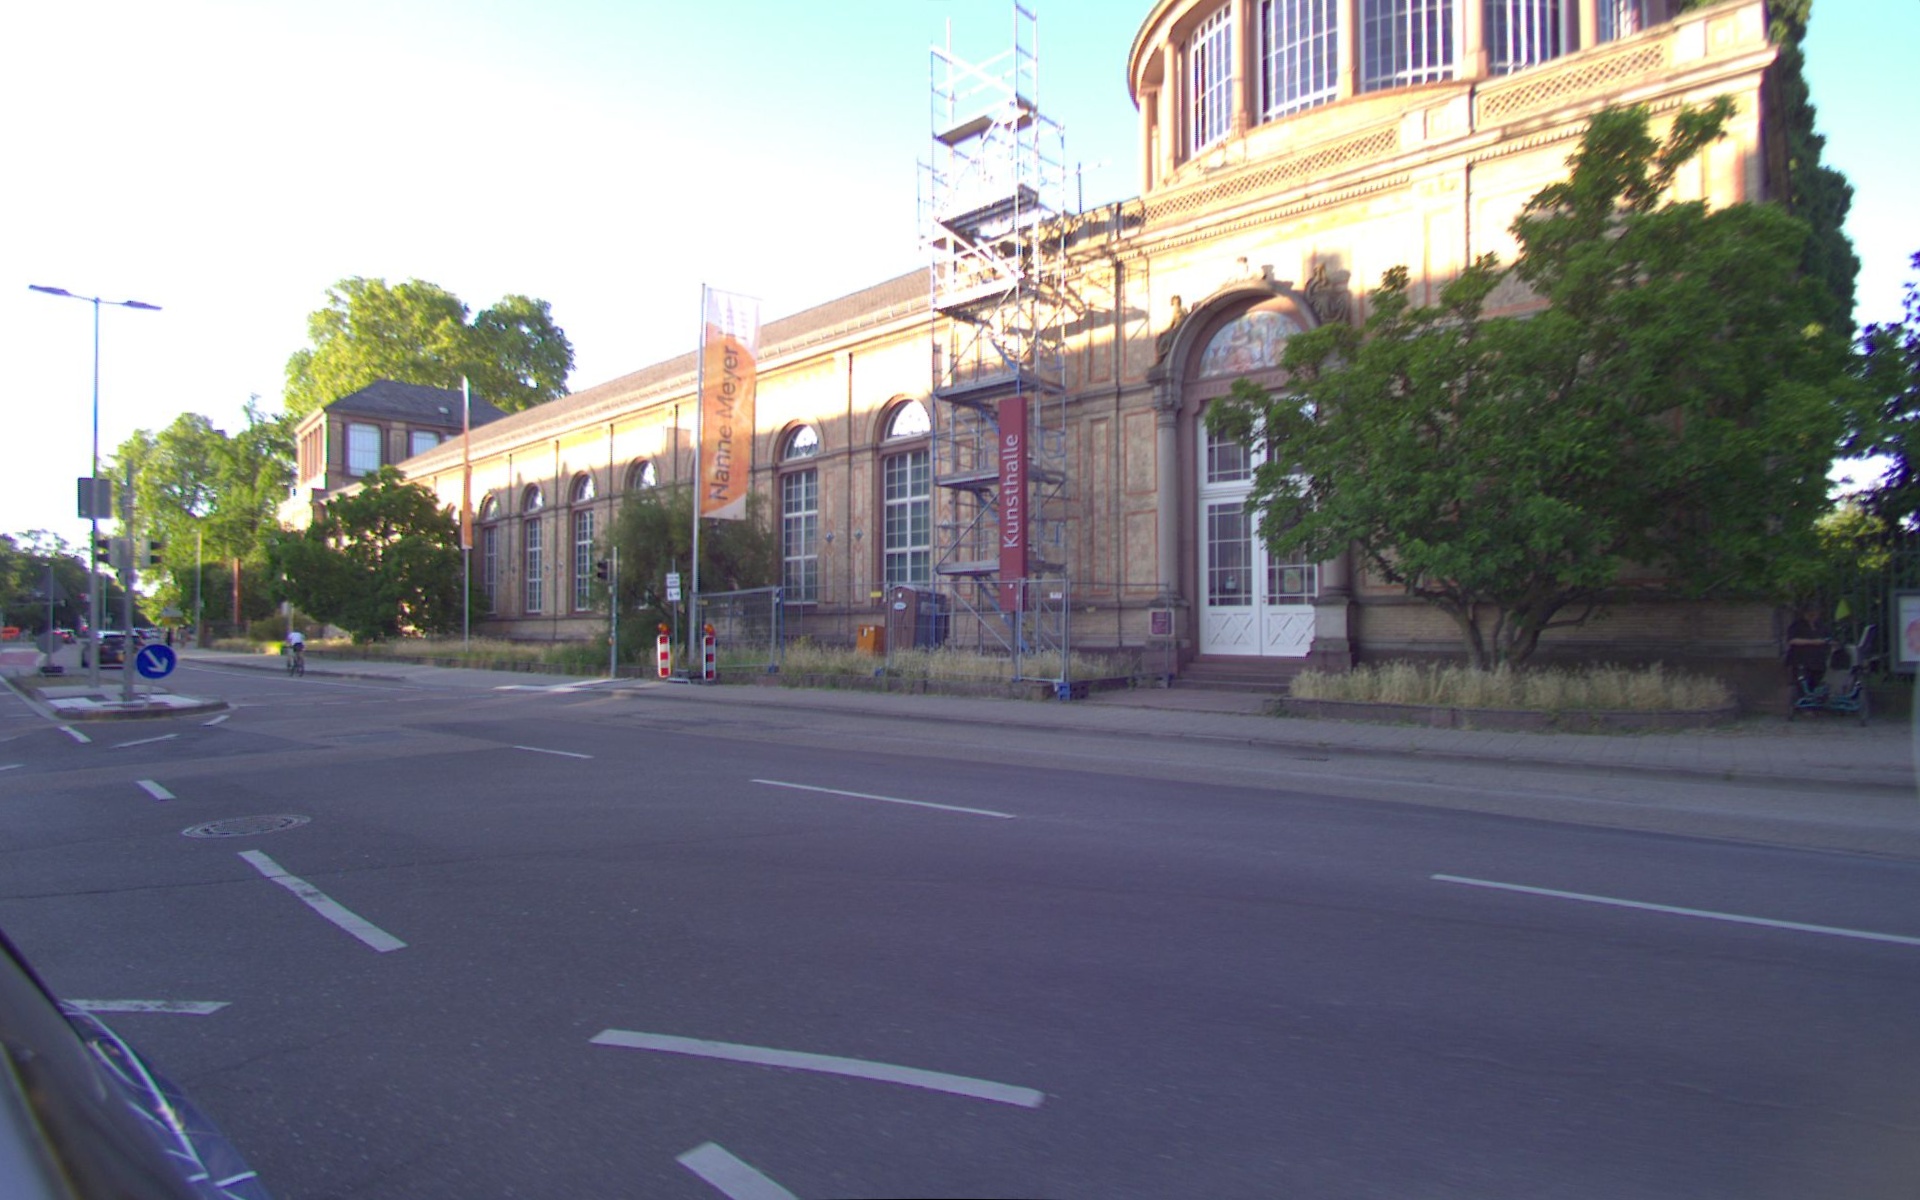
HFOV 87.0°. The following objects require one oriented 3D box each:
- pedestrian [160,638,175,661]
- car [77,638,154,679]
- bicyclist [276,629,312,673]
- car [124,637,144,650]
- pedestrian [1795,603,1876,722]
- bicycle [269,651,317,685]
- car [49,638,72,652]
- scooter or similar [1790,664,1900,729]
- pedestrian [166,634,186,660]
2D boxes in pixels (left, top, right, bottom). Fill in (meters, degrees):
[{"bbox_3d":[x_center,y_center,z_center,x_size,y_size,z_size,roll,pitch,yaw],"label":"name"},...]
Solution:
[{"bbox_3d":[-53.363,3.337,68.154,0.665,1.524,0.837,-4,-1,-40],"label":"pedestrian"},{"bbox_3d":[-33.852,2.310,40.522,4.426,1.519,1.803,-2,-3,43],"label":"car"},{"bbox_3d":[-22.620,1.738,34.368,0.936,1.471,0.740,-2,-4,38],"label":"bicyclist"},{"bbox_3d":[-110.081,5.782,134.905,1.891,1.697,4.008,1,-2,-38],"label":"car"},{"bbox_3d":[12.126,0.845,14.040,0.761,1.591,0.728,-2,-2,38],"label":"pedestrian"},{"bbox_3d":[-22.642,2.306,34.345,1.930,1.099,0.746,-2,-4,38],"label":"bicycle"},{"bbox_3d":[-97.237,4.874,109.400,1.749,1.475,4.006,3,-4,-40],"label":"car"},{"bbox_3d":[11.695,1.260,13.411,1.027,0.783,0.671,-2,-2,38],"label":"scooter or similar"},{"bbox_3d":[-53.011,3.172,68.426,0.795,1.751,0.852,0,-2,-21],"label":"pedestrian"}]
